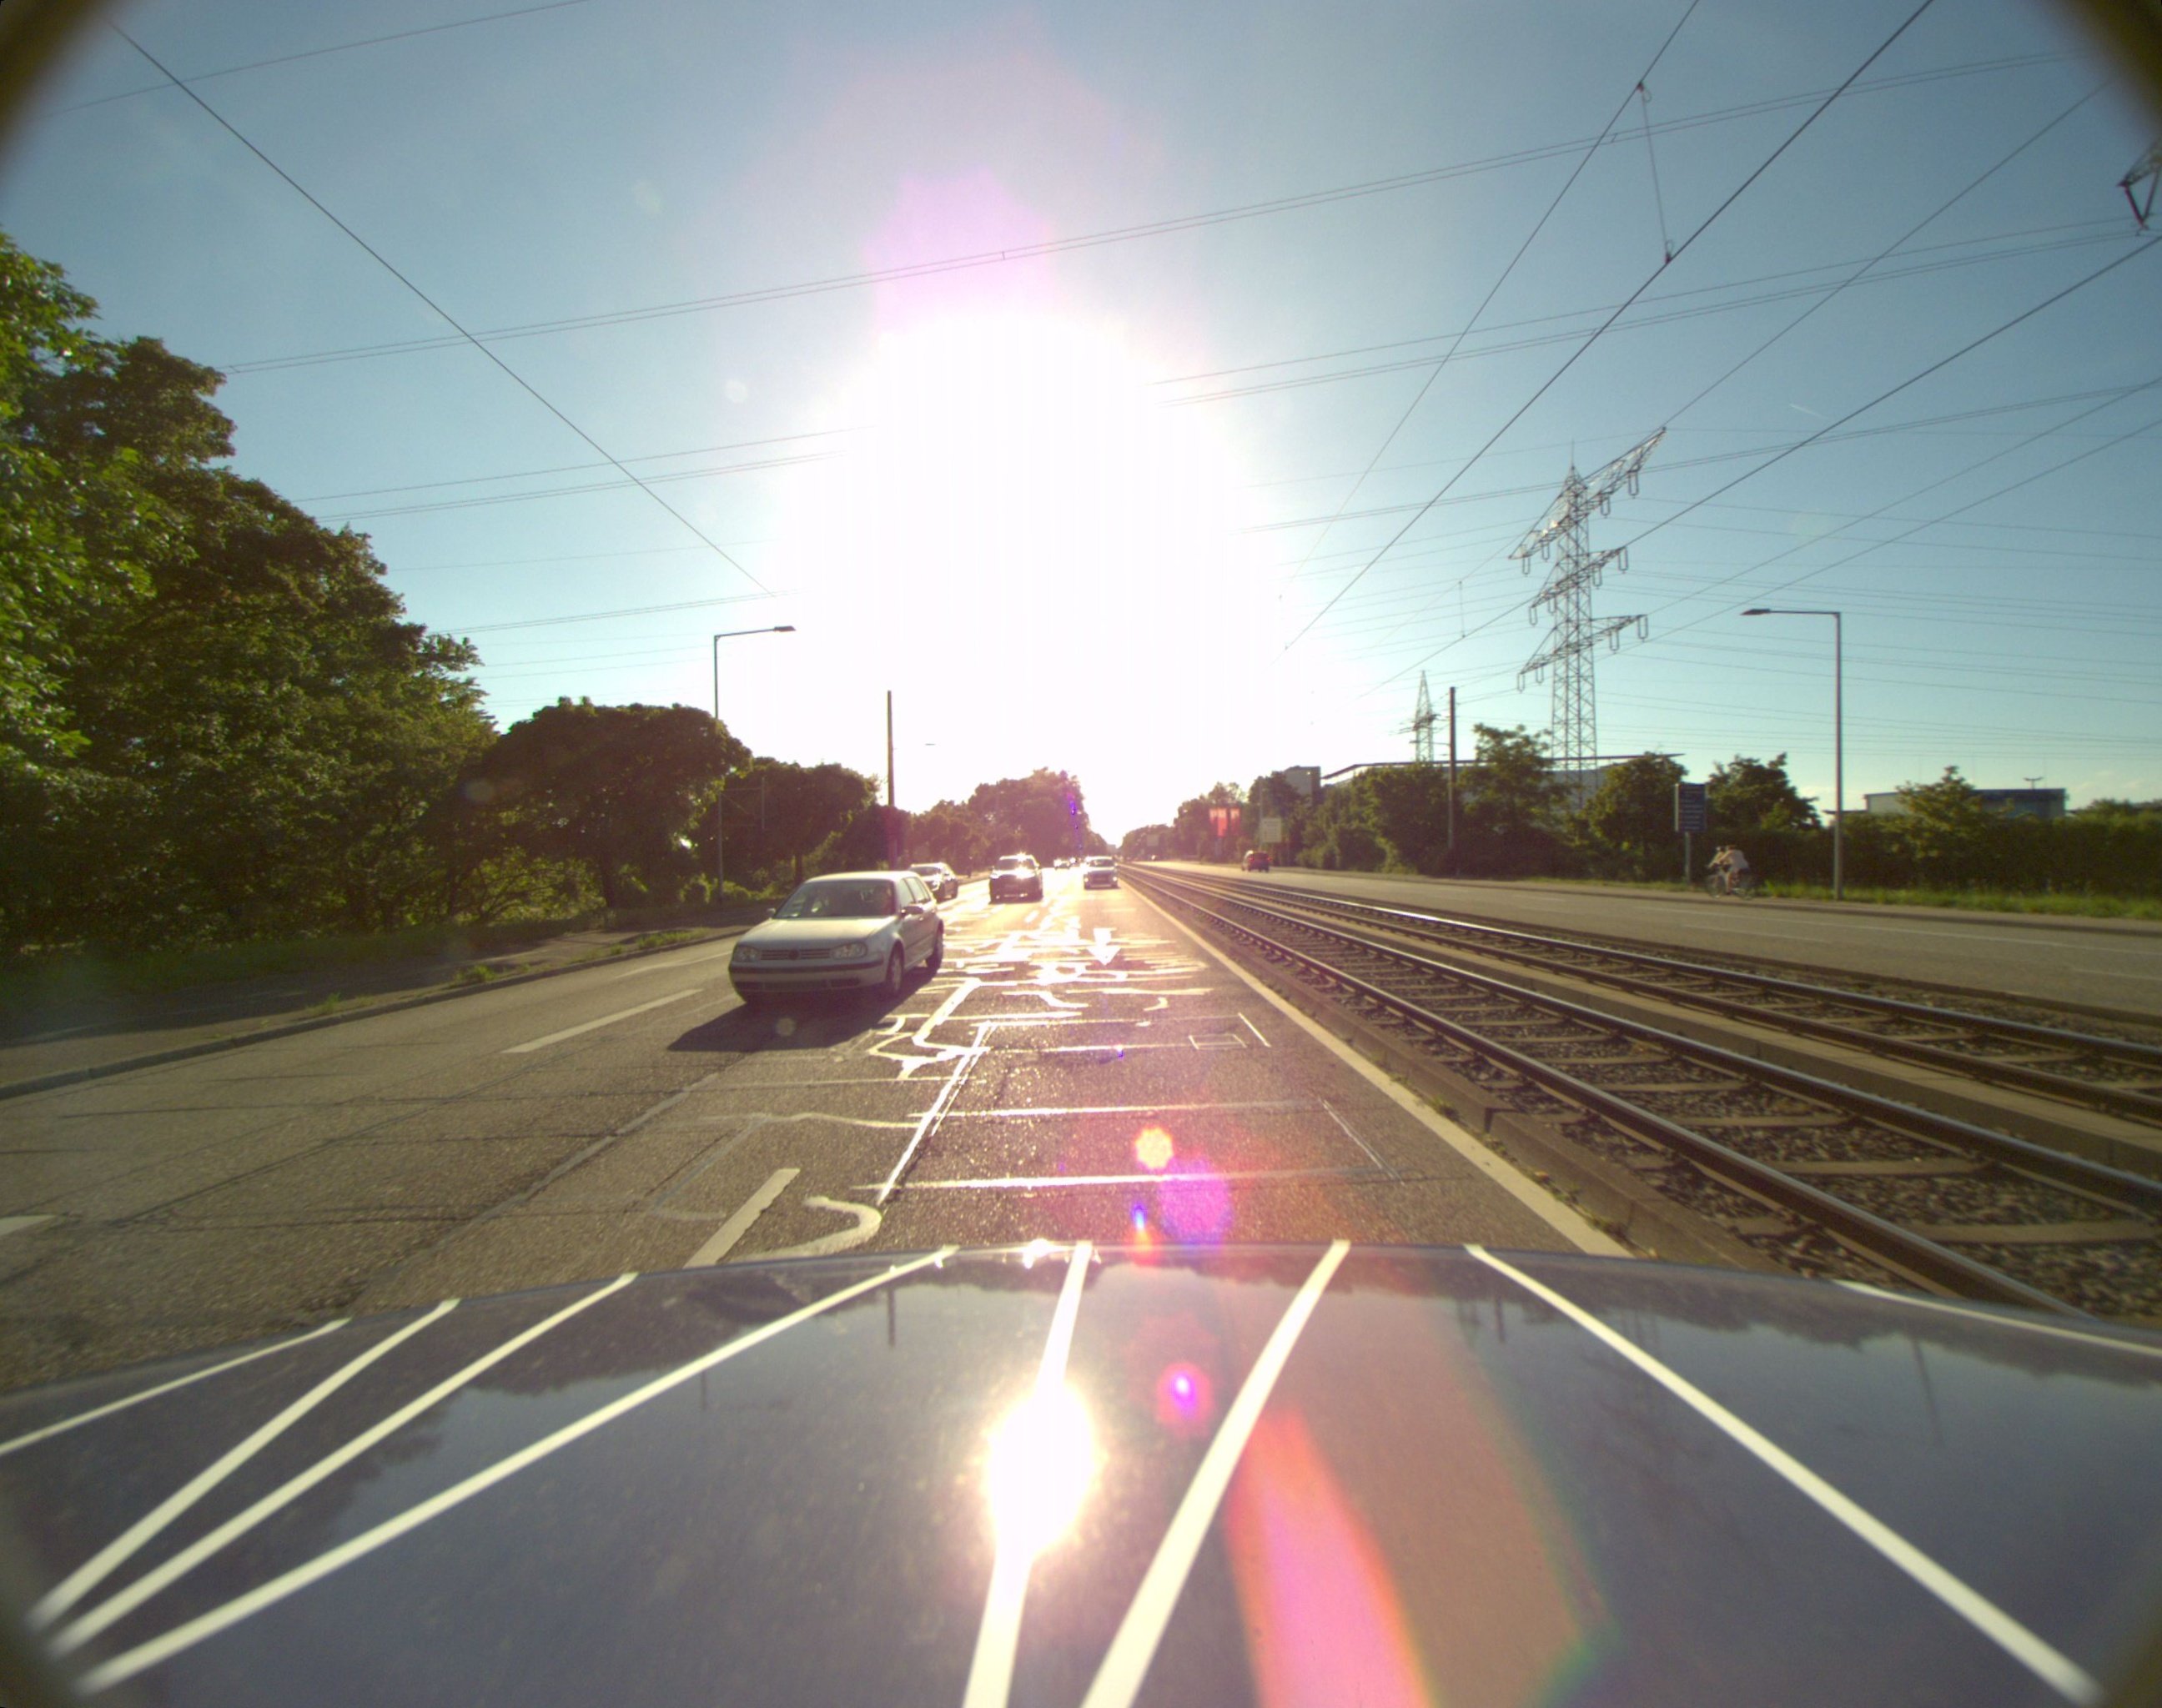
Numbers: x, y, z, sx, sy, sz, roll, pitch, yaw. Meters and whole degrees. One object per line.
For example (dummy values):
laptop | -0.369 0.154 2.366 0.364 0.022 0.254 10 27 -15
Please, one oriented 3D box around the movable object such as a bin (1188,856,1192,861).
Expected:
movable object such as a bin | 23.486 0.966 163.390 0.614 0.960 1.083 -3 1 1

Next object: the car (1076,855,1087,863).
car | 0.095 0.872 148.604 1.880 1.449 4.418 -2 1 5

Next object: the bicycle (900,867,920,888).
bicycle | -9.205 1.254 40.904 0.528 1.054 1.971 -3 1 2

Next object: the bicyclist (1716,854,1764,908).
bicyclist | 19.888 0.798 22.949 0.591 1.601 0.967 -1 1 0

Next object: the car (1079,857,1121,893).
car | 0.977 0.981 37.312 1.881 1.591 4.417 -2 1 2

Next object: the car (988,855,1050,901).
car | -2.350 0.882 29.874 1.881 1.591 4.417 -2 1 2

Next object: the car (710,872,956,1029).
car | -2.851 1.030 9.724 1.695 1.437 4.001 -2 1 2

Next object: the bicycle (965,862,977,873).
bicycle | -8.755 1.087 60.582 0.628 0.829 1.635 2 1 2

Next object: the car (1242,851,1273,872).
car | 16.812 0.745 72.712 1.998 1.911 4.863 0 -2 2

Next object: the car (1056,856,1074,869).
car | -1.896 1.007 91.233 1.881 1.449 4.417 -2 1 2

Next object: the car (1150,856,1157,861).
car | 23.457 1.408 245.610 1.998 1.785 4.350 0 1 1

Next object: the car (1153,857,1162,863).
car | 21.747 1.829 215.658 1.999 1.616 4.682 0 1 -2

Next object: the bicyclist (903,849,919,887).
bicyclist | -9.218 0.758 41.206 0.528 2.005 0.729 -3 1 2

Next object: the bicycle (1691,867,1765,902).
bicycle | 21.118 0.980 24.860 0.591 1.016 2.185 -1 1 0

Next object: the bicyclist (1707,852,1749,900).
bicyclist | 21.116 0.716 24.818 0.591 1.519 0.906 -1 1 0

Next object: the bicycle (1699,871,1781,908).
bicycle | 19.897 1.045 23.006 0.591 1.016 2.185 -1 1 0

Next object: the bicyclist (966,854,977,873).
bicyclist | -8.735 0.760 60.675 0.628 1.463 1.060 2 1 2

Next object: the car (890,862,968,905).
car | -5.912 1.099 30.099 1.881 1.435 4.660 -2 1 3
